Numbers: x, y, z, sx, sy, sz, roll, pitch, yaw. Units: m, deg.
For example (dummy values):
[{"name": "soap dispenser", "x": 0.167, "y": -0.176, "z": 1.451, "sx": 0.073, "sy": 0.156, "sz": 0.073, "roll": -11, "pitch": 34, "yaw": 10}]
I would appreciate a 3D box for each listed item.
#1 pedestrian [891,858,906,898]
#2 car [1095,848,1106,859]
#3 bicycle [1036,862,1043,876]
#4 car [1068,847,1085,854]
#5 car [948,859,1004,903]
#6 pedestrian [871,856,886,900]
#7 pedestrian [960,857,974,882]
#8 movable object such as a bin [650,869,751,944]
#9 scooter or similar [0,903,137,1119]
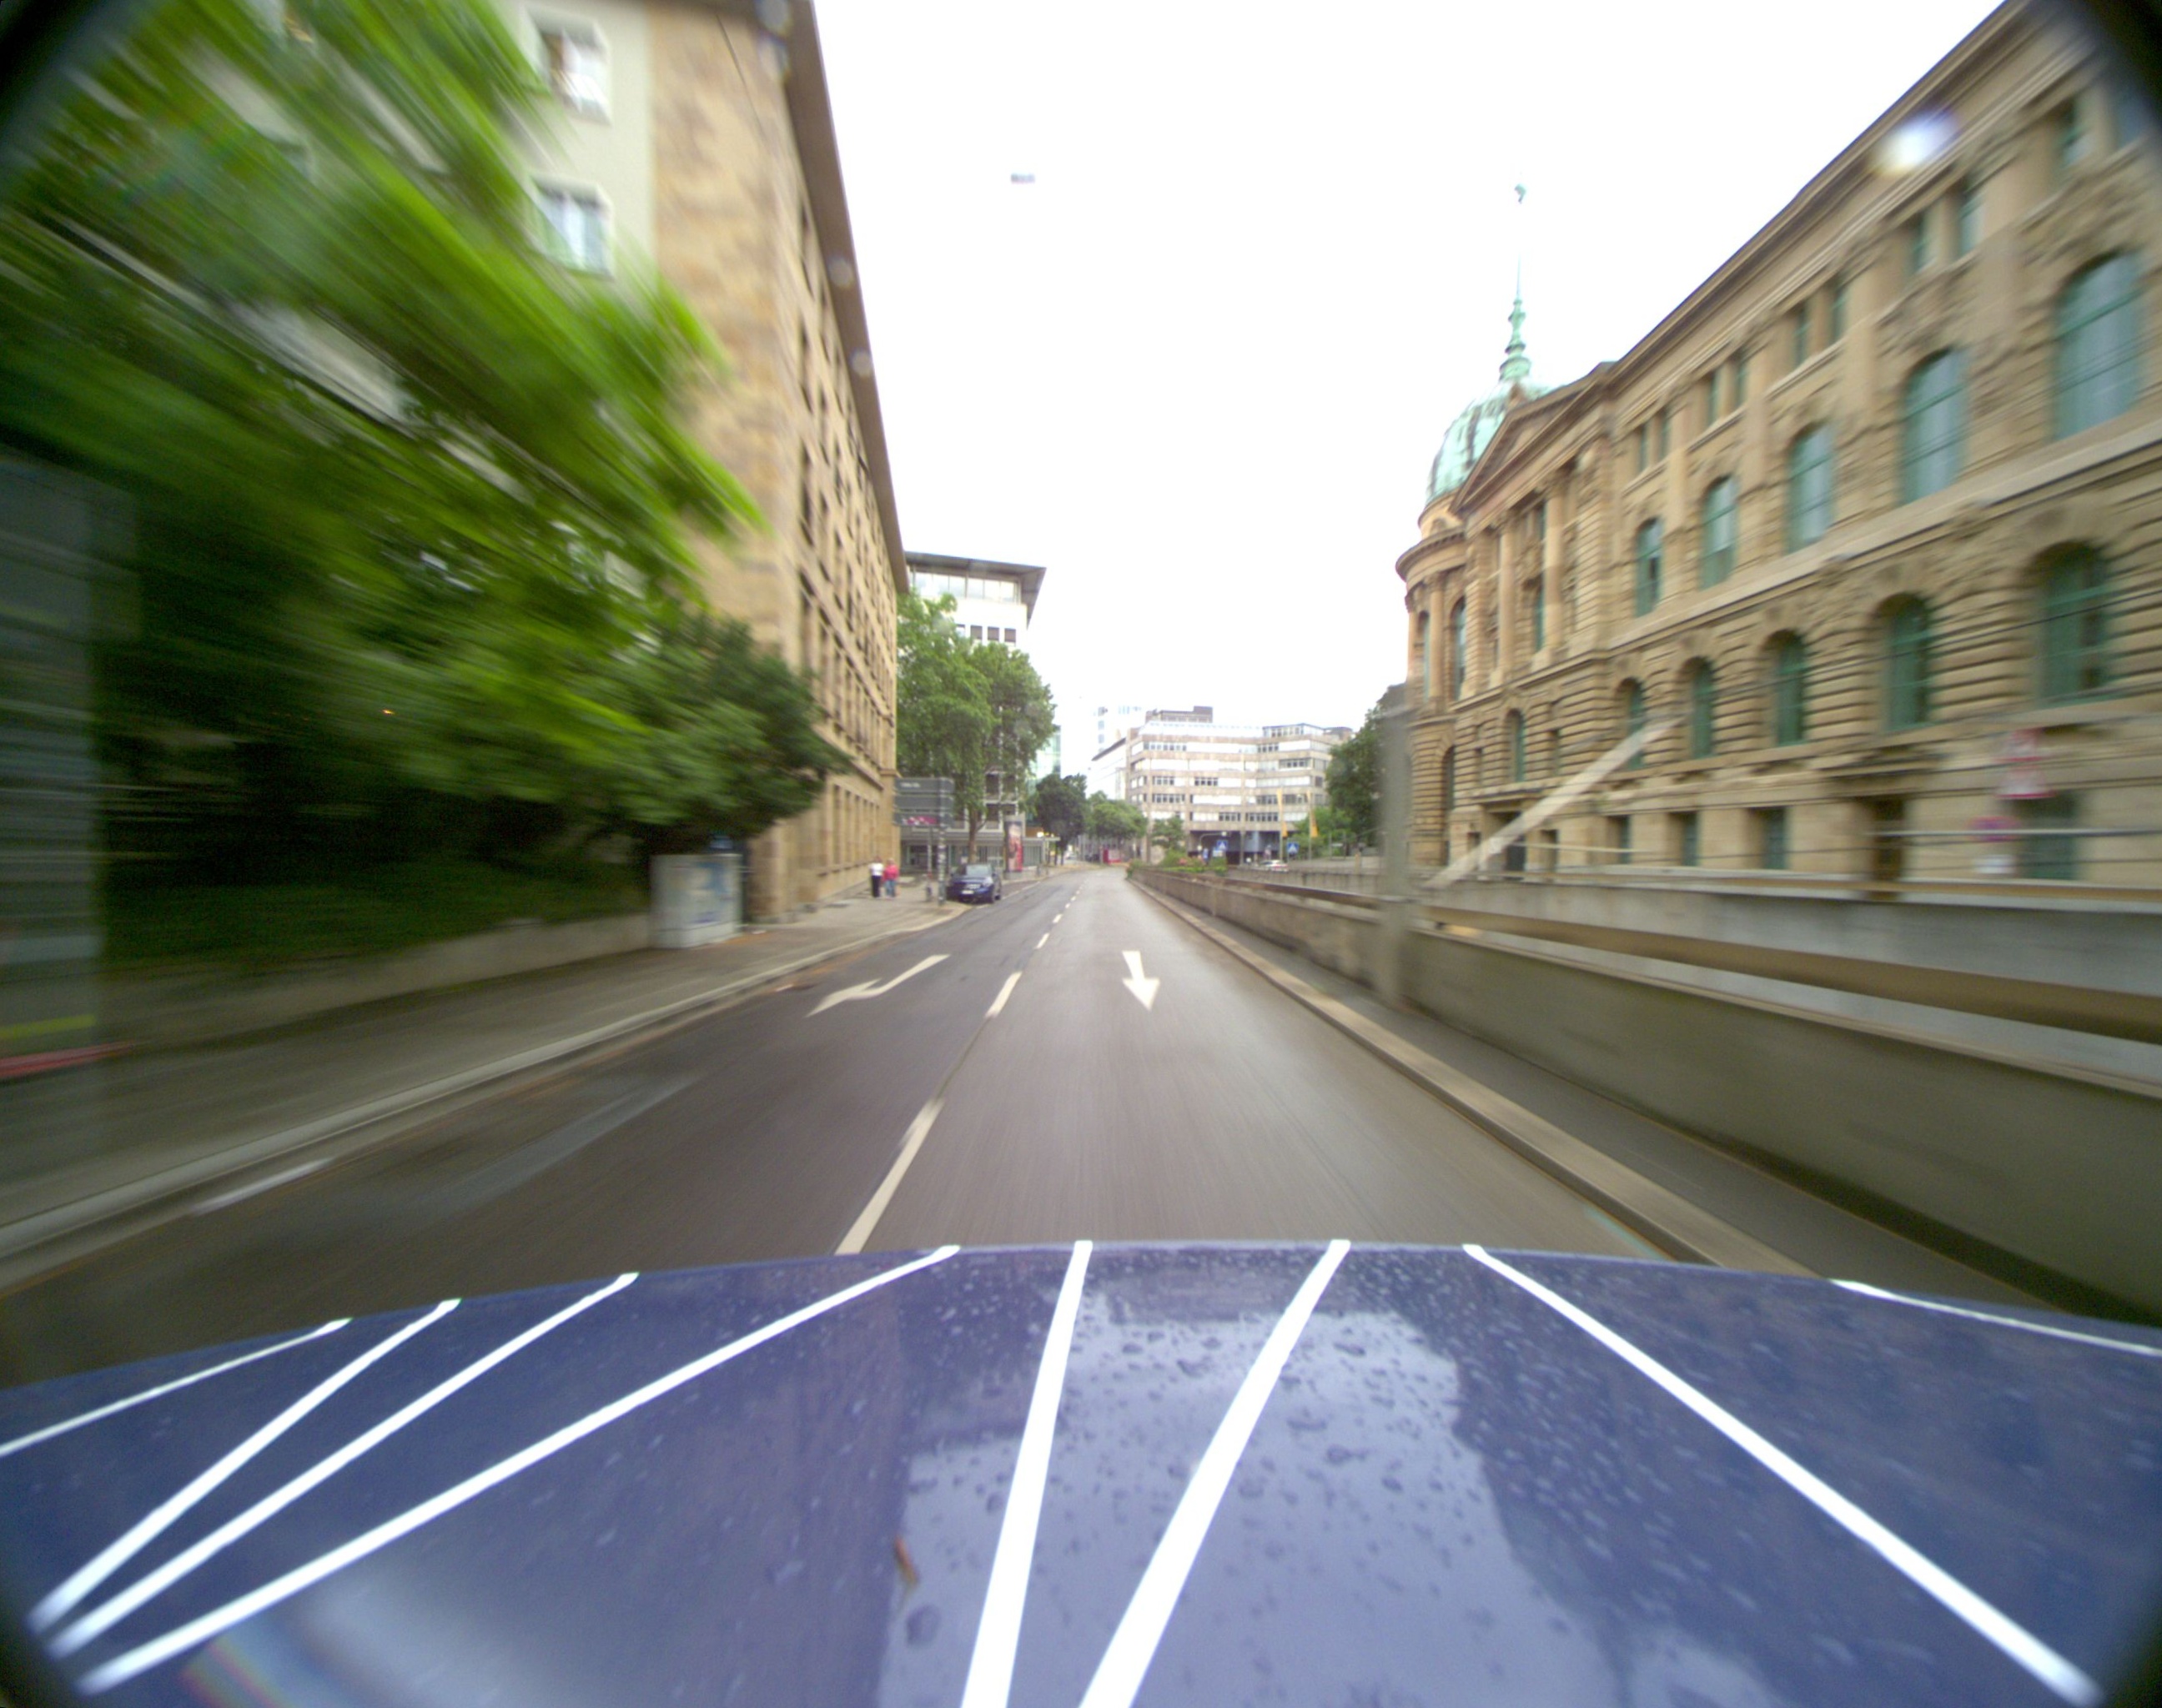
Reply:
[{"name": "pedestrian", "x": -6.945, "y": 0.900, "z": 28.906, "sx": 0.526, "sy": 1.483, "sz": 0.673, "roll": 0, "pitch": 1, "yaw": -16}, {"name": "car", "x": 3.984, "y": -0.086, "z": 155.320, "sx": 1.999, "sy": 2.068, "sz": 3.998, "roll": -1, "pitch": 1, "yaw": -3}, {"name": "bicycle", "x": -3.298, "y": 1.183, "z": 60.655, "sx": 0.490, "sy": 1.006, "sz": 1.927, "roll": 0, "pitch": 1, "yaw": -1}, {"name": "car", "x": -1.154, "y": -0.921, "z": 187.981, "sx": 3.776, "sy": 1.641, "sz": 1.796, "roll": 2, "pitch": 0, "yaw": -22}, {"name": "car", "x": -4.282, "y": 1.080, "z": 31.580, "sx": 1.773, "sy": 1.610, "sz": 4.156, "roll": 0, "pitch": 1, "yaw": -1}, {"name": "pedestrian", "x": -7.582, "y": 0.893, "z": 28.462, "sx": 0.526, "sy": 1.593, "sz": 0.673, "roll": 0, "pitch": 1, "yaw": -14}, {"name": "pedestrian", "x": -7.925, "y": 1.073, "z": 52.719, "sx": 0.781, "sy": 1.761, "sz": 0.863, "roll": 0, "pitch": 1, "yaw": 7}, {"name": "movable object such as a bin", "x": -7.190, "y": 0.966, "z": 14.438, "sx": 1.242, "sy": 1.302, "sz": 1.234, "roll": 2, "pitch": 1, "yaw": 2}, {"name": "scooter or similar", "x": -6.690, "y": 0.961, "z": 4.583, "sx": 0.448, "sy": 1.252, "sz": 1.211, "roll": 2, "pitch": 0, "yaw": 1}]
